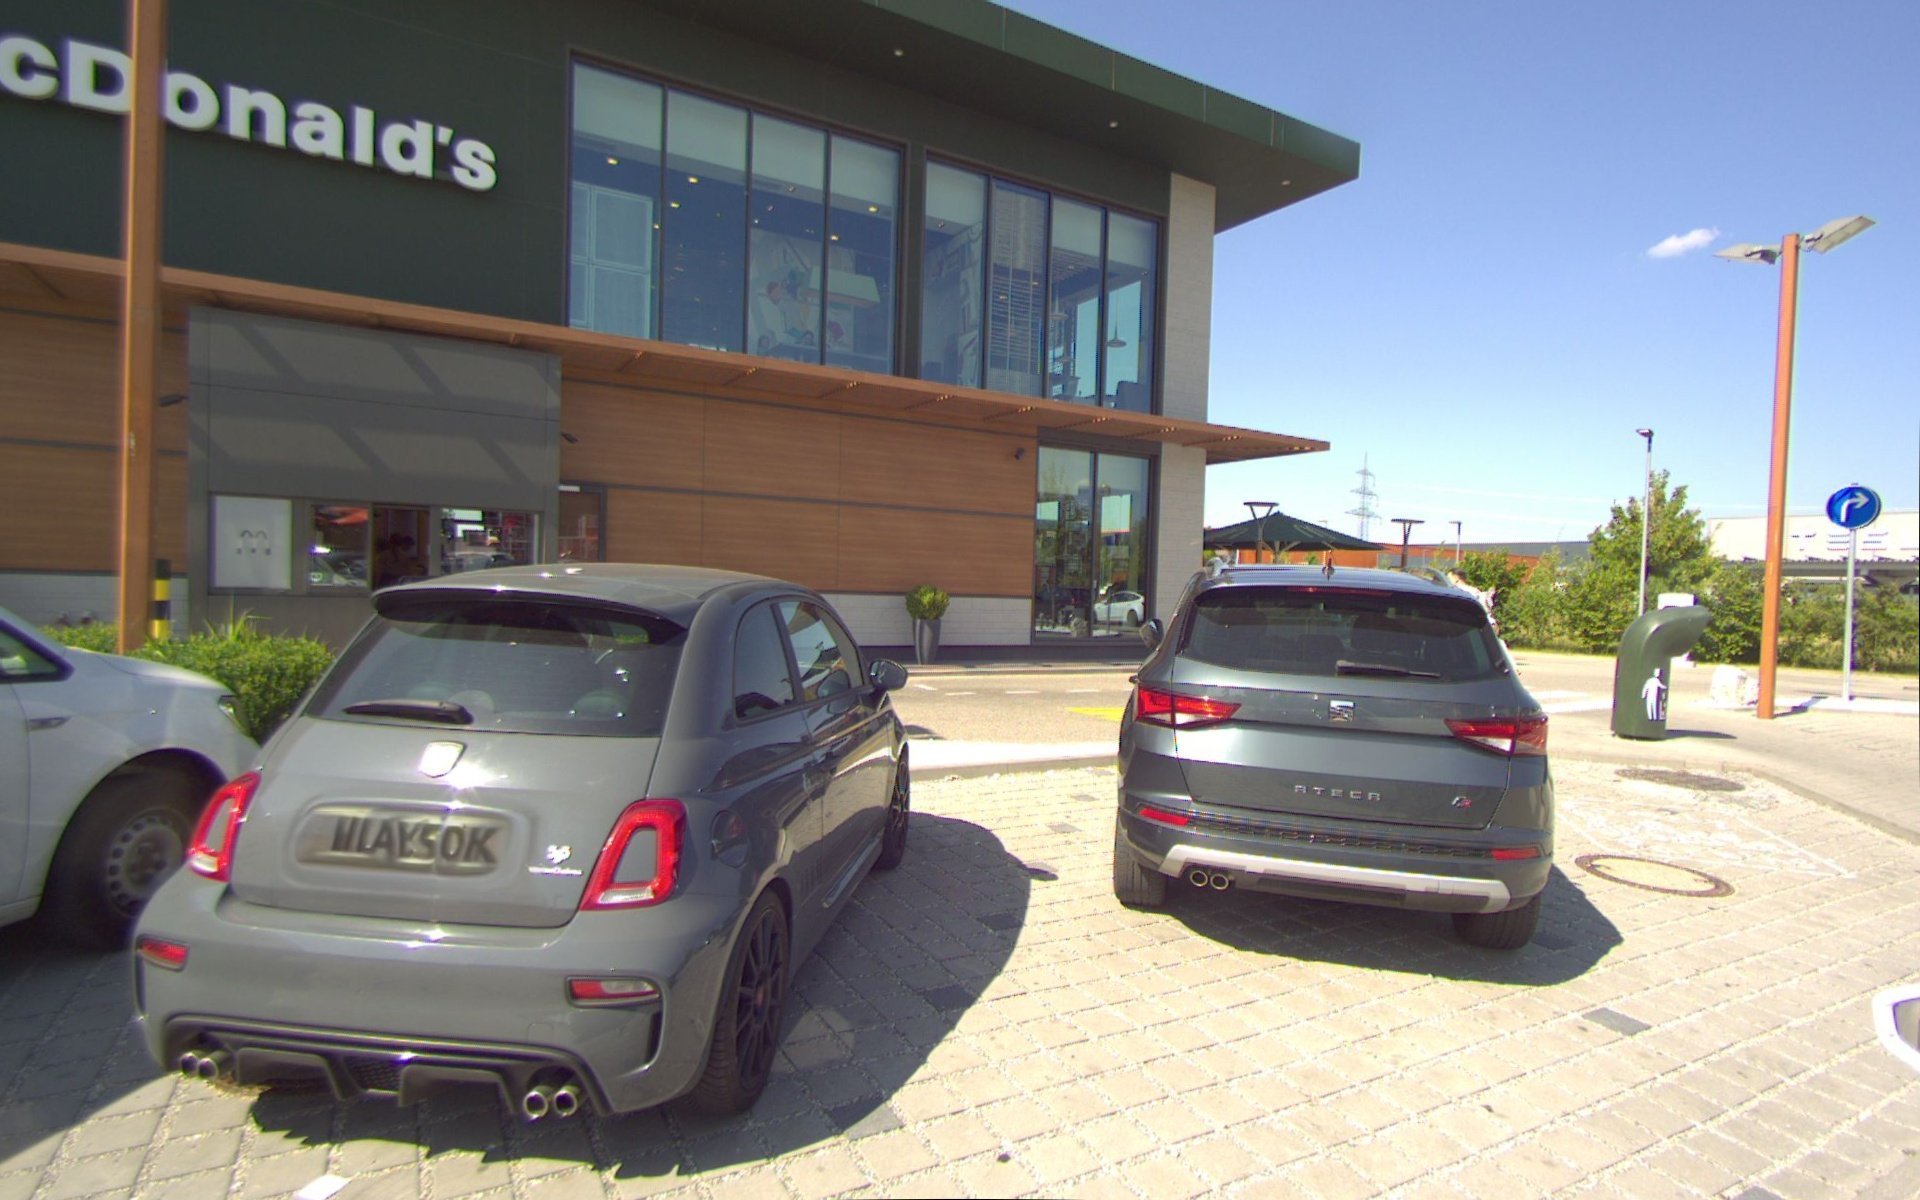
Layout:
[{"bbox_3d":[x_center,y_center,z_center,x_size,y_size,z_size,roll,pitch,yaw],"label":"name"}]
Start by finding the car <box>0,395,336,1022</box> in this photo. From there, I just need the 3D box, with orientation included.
[{"bbox_3d":[-3.948,0.320,2.504,1.722,1.947,4.147,2,0,10],"label":"car"}]

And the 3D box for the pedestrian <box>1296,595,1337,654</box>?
[{"bbox_3d":[7.808,0.528,22.006,0.708,1.275,0.519,1,1,-34],"label":"pedestrian"}]

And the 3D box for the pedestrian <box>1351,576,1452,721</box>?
[{"bbox_3d":[5.073,0.539,11.562,0.730,1.605,0.725,1,1,-20],"label":"pedestrian"}]

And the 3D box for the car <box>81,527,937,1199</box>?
[{"bbox_3d":[-1.111,0.581,3.985,1.536,1.502,3.417,2,1,7],"label":"car"}]

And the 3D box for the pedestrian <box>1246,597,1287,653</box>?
[{"bbox_3d":[6.398,0.514,20.985,0.628,1.139,0.519,1,1,-34],"label":"pedestrian"}]

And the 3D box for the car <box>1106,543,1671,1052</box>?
[{"bbox_3d":[1.940,0.581,5.603,1.755,1.625,4.228,4,3,13],"label":"car"}]

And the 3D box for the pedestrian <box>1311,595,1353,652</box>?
[{"bbox_3d":[8.502,0.536,22.967,0.722,1.275,0.567,1,1,-35],"label":"pedestrian"}]

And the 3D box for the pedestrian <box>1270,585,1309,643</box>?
[{"bbox_3d":[7.371,0.307,22.461,0.628,1.275,0.519,1,1,-34],"label":"pedestrian"}]

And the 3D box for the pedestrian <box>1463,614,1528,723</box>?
[{"bbox_3d":[6.154,0.772,11.543,0.444,1.202,0.486,1,1,-36],"label":"pedestrian"}]

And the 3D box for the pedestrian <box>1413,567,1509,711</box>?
[{"bbox_3d":[6.533,0.484,13.099,0.889,1.792,0.794,0,1,-39],"label":"pedestrian"}]

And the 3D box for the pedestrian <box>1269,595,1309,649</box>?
[{"bbox_3d":[7.862,0.516,24.020,0.722,1.275,0.567,1,1,-35],"label":"pedestrian"}]
